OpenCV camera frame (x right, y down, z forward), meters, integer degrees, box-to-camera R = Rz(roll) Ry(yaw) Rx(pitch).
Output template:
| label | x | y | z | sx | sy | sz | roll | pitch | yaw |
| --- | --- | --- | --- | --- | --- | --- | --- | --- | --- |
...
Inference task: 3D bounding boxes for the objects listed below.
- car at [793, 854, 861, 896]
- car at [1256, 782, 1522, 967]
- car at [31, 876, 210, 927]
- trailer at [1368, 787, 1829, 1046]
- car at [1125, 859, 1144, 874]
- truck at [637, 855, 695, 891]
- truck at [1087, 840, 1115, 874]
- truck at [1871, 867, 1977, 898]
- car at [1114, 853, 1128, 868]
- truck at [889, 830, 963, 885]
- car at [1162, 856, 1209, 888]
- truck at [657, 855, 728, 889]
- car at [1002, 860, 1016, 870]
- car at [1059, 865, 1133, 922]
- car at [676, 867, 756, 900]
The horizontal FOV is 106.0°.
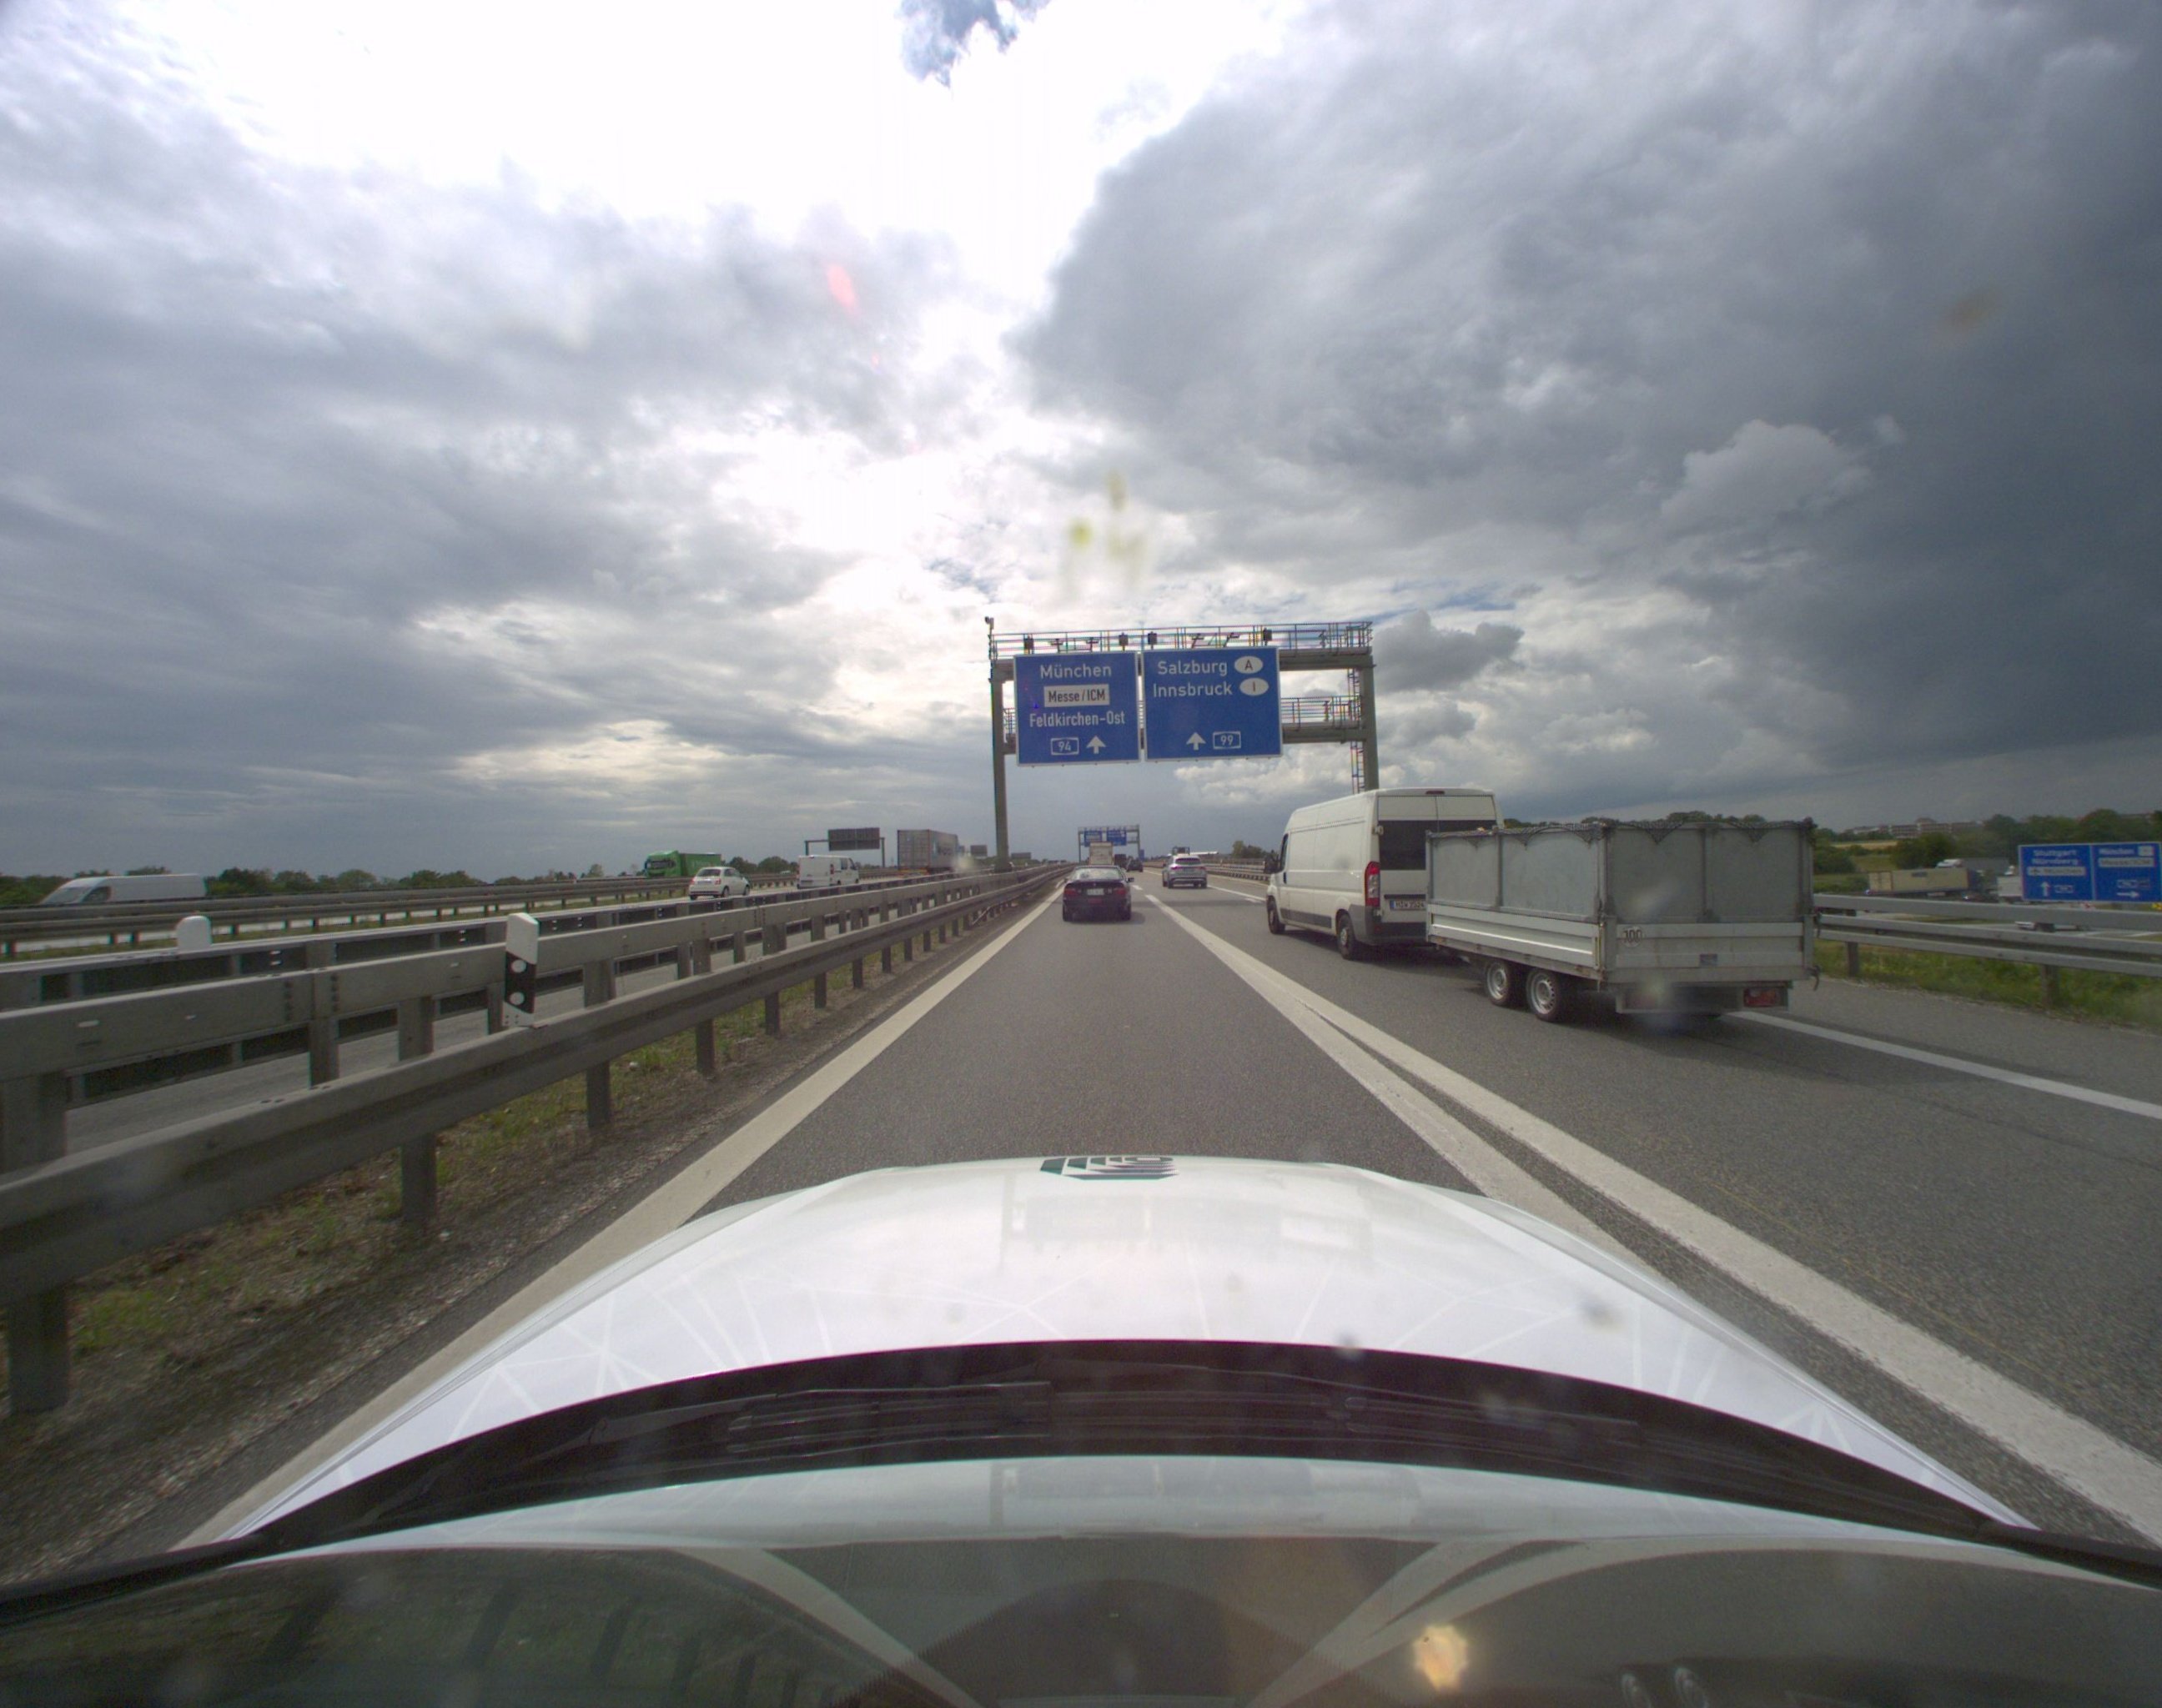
| label | x | y | z | sx | sy | sz | roll | pitch | yaw |
| --- | --- | --- | --- | --- | --- | --- | --- | --- | --- |
| car | -12.807 | 1.009 | 41.324 | 1.986 | 2.014 | 4.375 | 0 | 0 | 1 |
| car | 4.786 | 0.289 | 13.958 | 2.108 | 2.454 | 6.148 | 0 | 0 | -1 |
| car | -46.940 | 2.249 | 40.054 | 2.188 | 2.223 | 5.517 | 0 | 0 | 1 |
| trailer | 4.899 | 0.497 | 8.722 | 1.850 | 2.014 | 4.627 | 0 | 0 | -3 |
| car | 5.869 | 1.369 | 89.409 | 1.878 | 1.552 | 4.000 | 0 | 0 | 1 |
| truck | -43.883 | 1.954 | 86.234 | 3.031 | 3.609 | 5.894 | -1 | -1 | 0 |
| truck | 1.947 | 0.370 | 79.663 | 2.560 | 3.126 | 8.634 | 0 | -2 | 1 |
| truck | 110.031 | 3.723 | 106.283 | 13.708 | 3.936 | 3.296 | 1 | -1 | -14 |
| car | 6.013 | 1.016 | 122.977 | 1.900 | 2.262 | 4.649 | 0 | 0 | 0 |
| truck | -12.712 | 0.315 | 68.675 | 3.173 | 4.019 | 16.071 | 0 | 0 | 0 |
| car | 5.133 | 0.866 | 40.457 | 1.814 | 1.514 | 3.998 | 0 | 0 | -1 |
| truck | -43.834 | 1.979 | 92.397 | 3.003 | 3.635 | 10.436 | 0 | 0 | 1 |
| car | -11.976 | 1.875 | 135.944 | 1.821 | 1.563 | 4.002 | -1 | 0 | 2 |
| car | 0.440 | 0.939 | 21.081 | 1.697 | 1.281 | 4.368 | 0 | 0 | 2 |
| car | -16.924 | 1.338 | 37.963 | 1.790 | 1.420 | 4.002 | 0 | 0 | 2 |
